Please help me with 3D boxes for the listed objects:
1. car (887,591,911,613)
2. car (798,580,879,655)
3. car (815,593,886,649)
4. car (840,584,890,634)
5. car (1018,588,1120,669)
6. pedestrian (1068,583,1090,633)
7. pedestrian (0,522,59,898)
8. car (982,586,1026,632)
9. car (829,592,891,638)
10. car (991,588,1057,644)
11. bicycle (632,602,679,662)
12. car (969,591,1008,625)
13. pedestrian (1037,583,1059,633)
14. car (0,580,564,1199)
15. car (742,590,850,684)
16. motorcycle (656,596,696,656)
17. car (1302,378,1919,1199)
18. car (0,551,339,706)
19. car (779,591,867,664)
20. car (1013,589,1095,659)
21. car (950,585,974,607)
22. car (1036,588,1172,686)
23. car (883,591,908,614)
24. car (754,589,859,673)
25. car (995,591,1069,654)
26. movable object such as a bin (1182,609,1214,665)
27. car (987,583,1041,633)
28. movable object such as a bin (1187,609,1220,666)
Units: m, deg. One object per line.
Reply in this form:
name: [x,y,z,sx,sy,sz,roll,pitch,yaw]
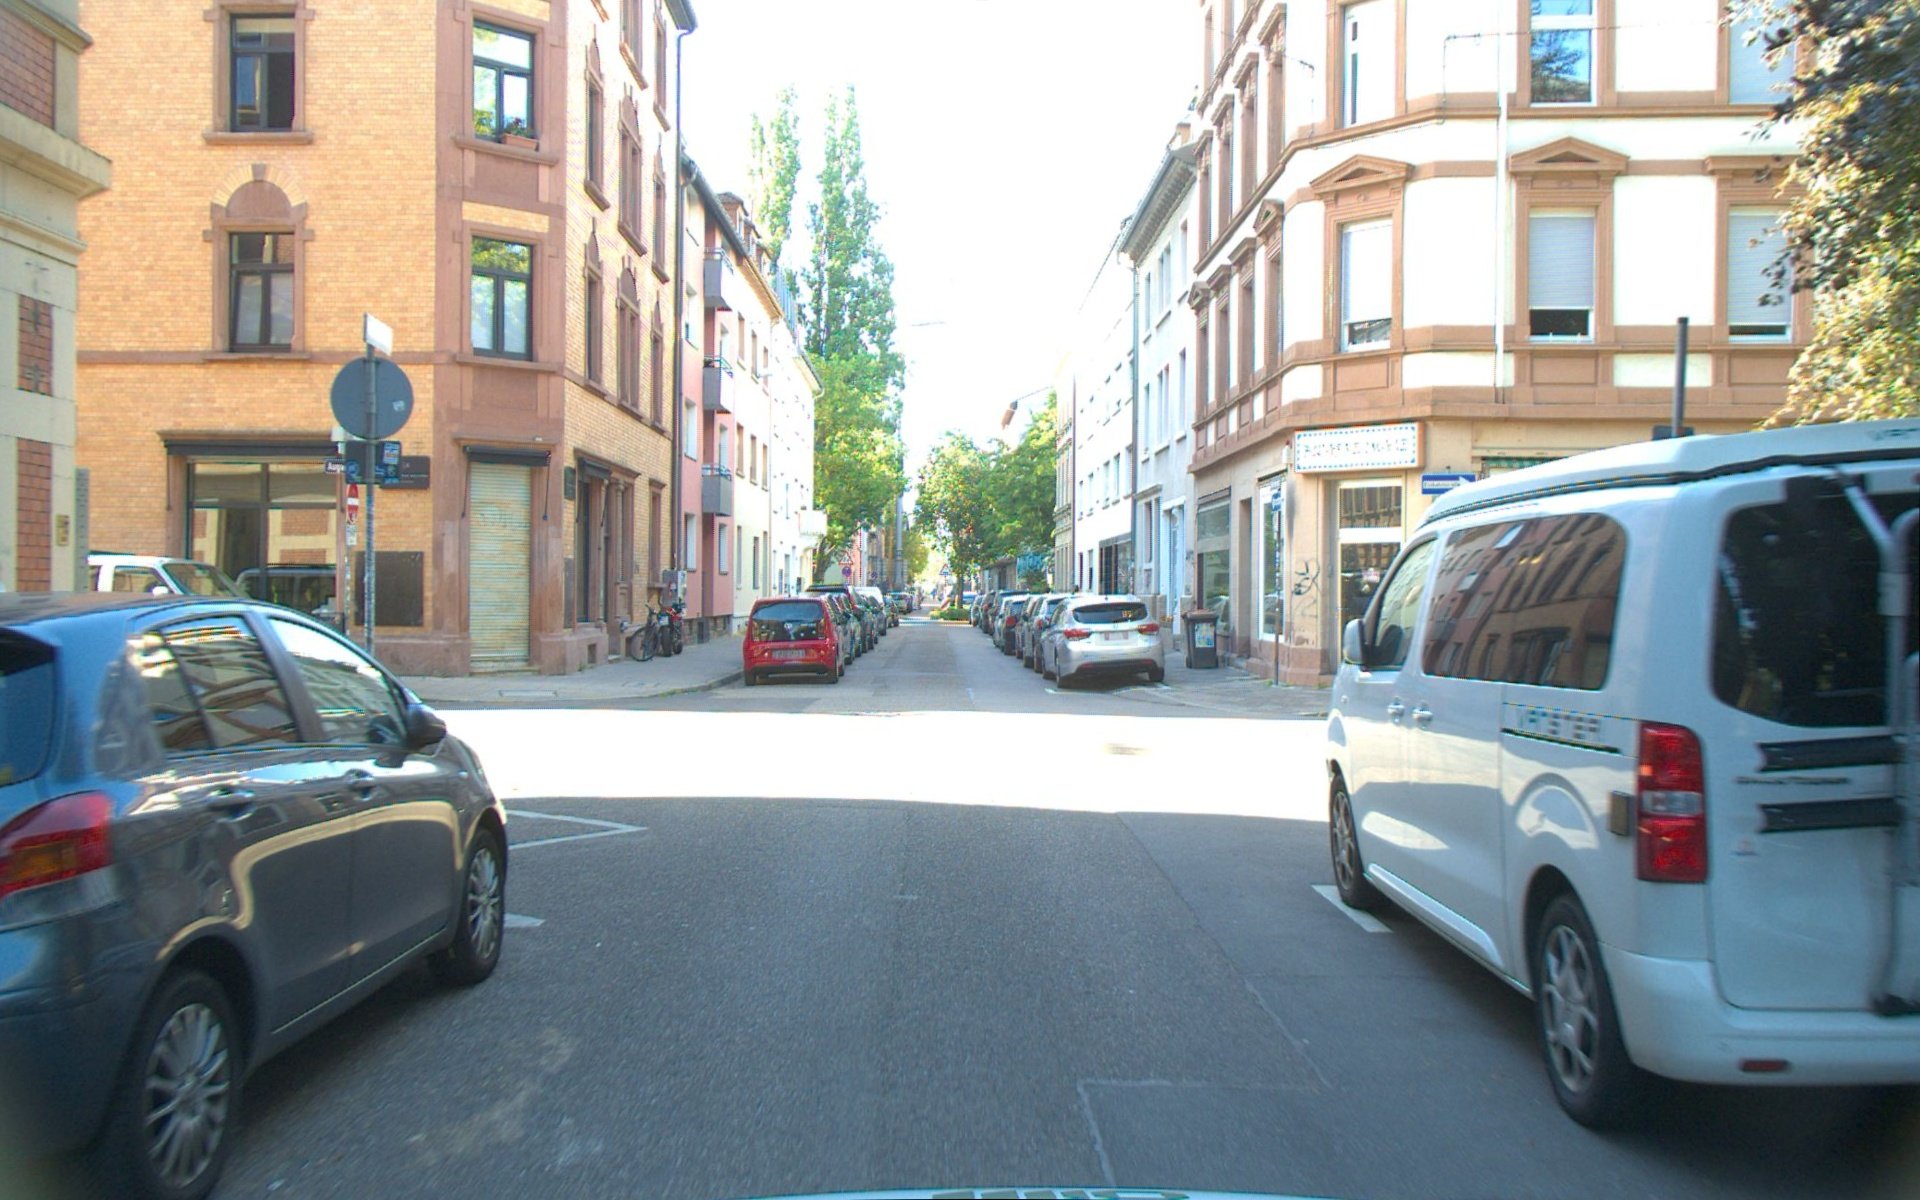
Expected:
car: [-4.512,0.149,122.847,1.642,1.513,4.093,-2,0,-2]
car: [-3.197,0.418,44.209,1.707,1.842,4.672,-2,0,1]
car: [-3.223,0.595,49.418,1.707,1.533,4.347,-2,0,1]
car: [-3.600,0.324,63.365,1.729,1.816,4.038,-2,0,-2]
car: [2.181,0.539,34.112,1.709,1.533,4.020,-2,0,-2]
pedestrian: [4.003,0.263,55.818,0.671,1.689,0.717,-1,0,-1]
pedestrian: [-4.543,0.490,7.440,0.537,1.673,0.717,1,-2,-1]
car: [1.720,0.368,65.759,1.641,1.711,4.094,-2,0,0]
car: [-3.531,0.498,58.836,1.638,1.512,3.994,-2,0,4]
car: [1.842,0.447,48.783,1.642,1.533,3.936,-2,0,-2]
bicycle: [-6.027,0.619,32.816,0.522,1.092,1.891,4,0,0]
car: [1.364,0.368,80.008,1.642,1.513,4.093,-2,0,-2]
pedestrian: [2.988,0.274,56.002,0.671,1.689,0.717,-1,0,-1]
car: [-2.561,0.722,5.337,1.658,1.507,3.972,-2,0,-2]
car: [-2.821,0.601,29.133,1.595,1.507,3.600,-2,0,-2]
motorcycle: [-6.044,0.535,35.235,0.522,1.227,1.908,0,0,0]
car: [2.757,0.434,6.503,1.875,2.033,4.792,-2,0,1]
car: [-10.866,0.373,21.733,4.612,1.927,2.027,0,-2,4]
car: [-3.152,0.602,38.713,1.622,1.547,3.945,-2,0,1]
car: [2.178,0.523,39.297,1.566,1.533,4.183,-2,0,-2]
car: [0.131,-0.283,119.184,1.642,1.513,3.637,-2,0,-2]
car: [2.419,0.582,28.815,1.709,1.533,4.354,-2,0,-4]
car: [-4.580,0.155,117.640,1.642,1.513,4.093,-2,0,-2]
car: [-3.084,0.582,33.892,1.660,1.547,4.096,-2,0,1]
car: [1.872,0.556,43.915,1.642,1.533,3.936,-2,0,-2]
movable object such as a bin: [4.593,0.715,31.950,0.503,1.058,0.594,-1,0,0]
car: [1.949,0.272,60.487,1.642,1.655,4.249,-4,0,-2]
movable object such as a bin: [4.602,0.704,31.297,0.503,1.058,0.619,-1,0,0]
